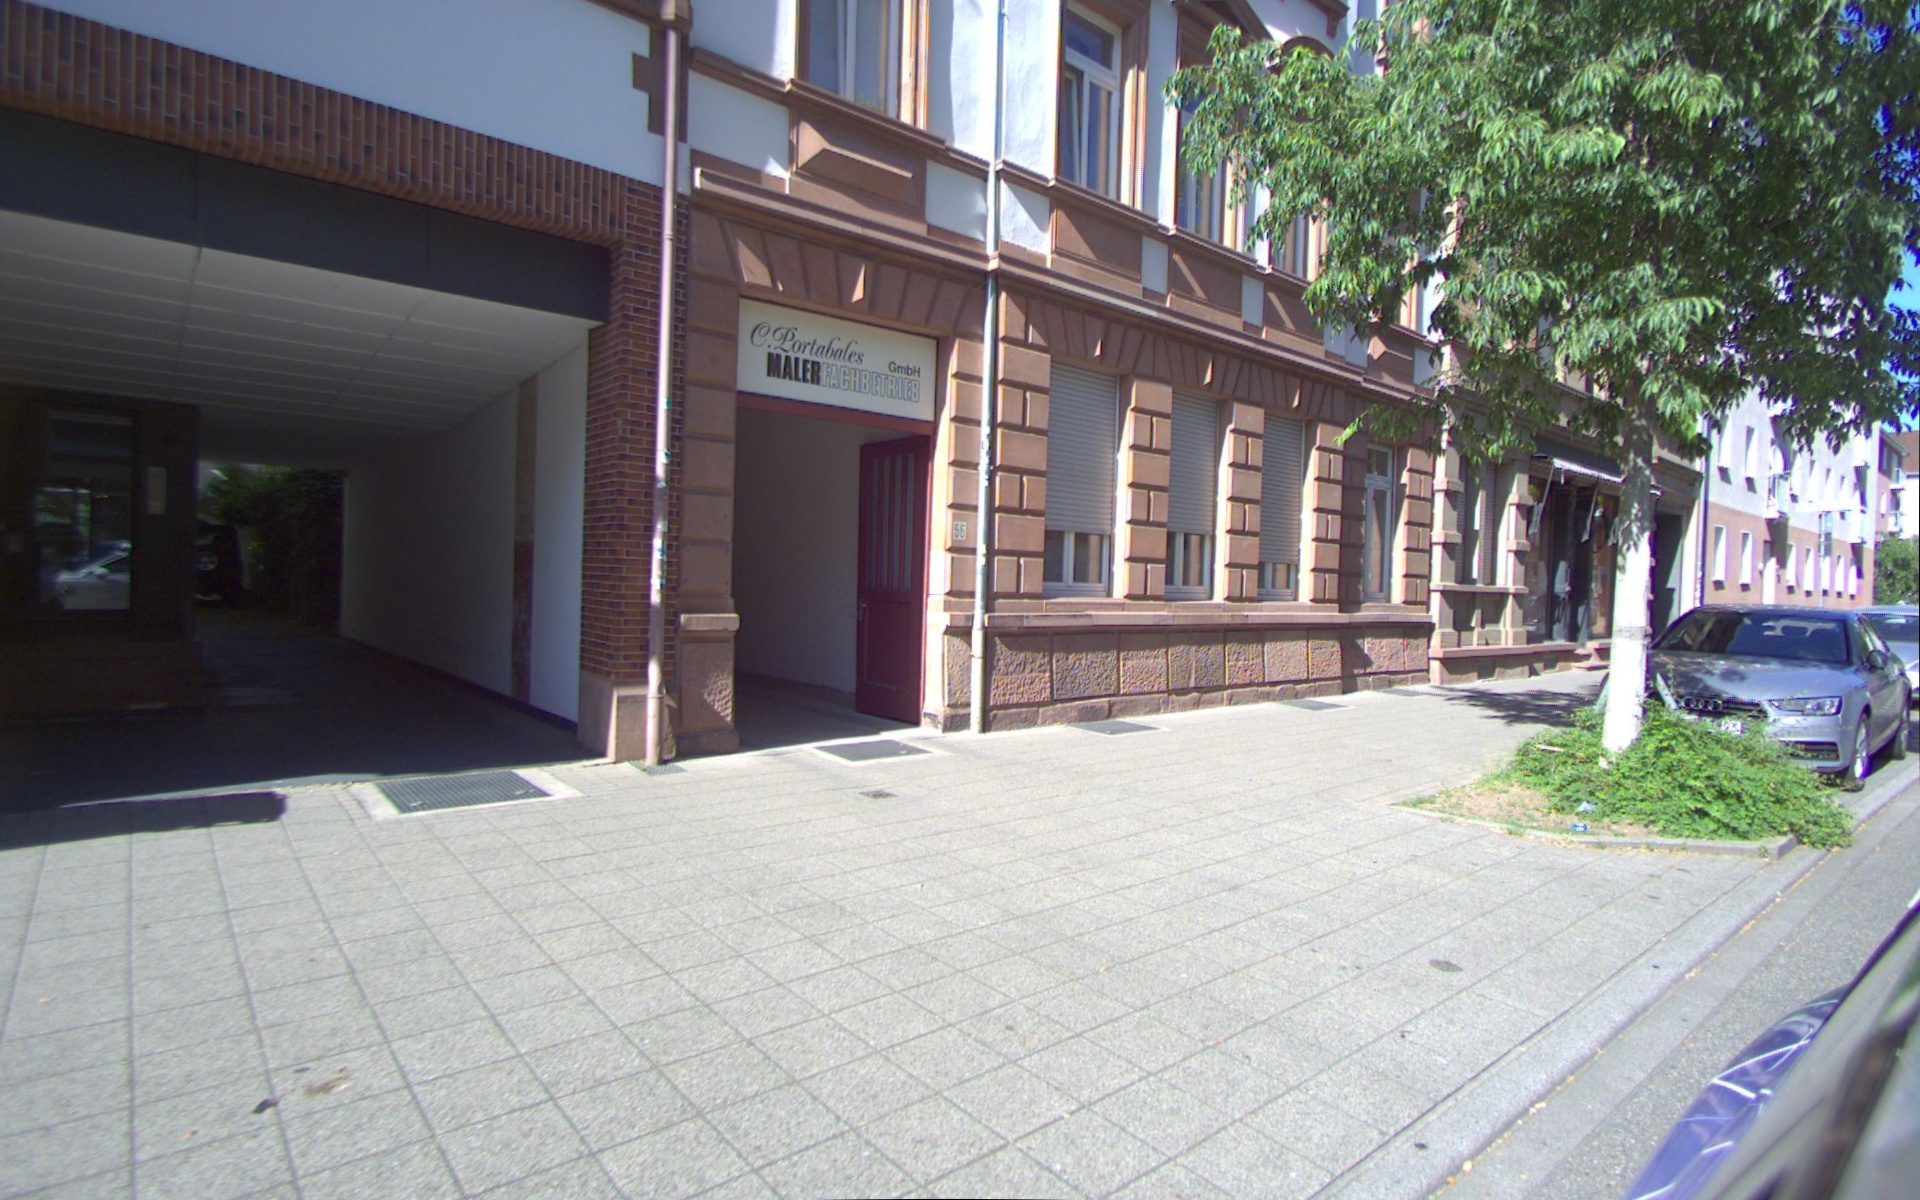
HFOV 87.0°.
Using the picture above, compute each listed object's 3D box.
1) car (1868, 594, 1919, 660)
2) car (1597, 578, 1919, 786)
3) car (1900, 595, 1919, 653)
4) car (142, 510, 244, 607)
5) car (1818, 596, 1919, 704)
[{"bbox_3d":[23.838,0.651,24.928,3.645,1.498,1.712,0,1,-41],"label":"car"},{"bbox_3d":[7.602,0.592,9.372,4.232,1.469,1.742,1,1,-41],"label":"car"},{"bbox_3d":[27.121,0.680,27.368,4.434,1.478,1.791,1,2,-39],"label":"car"},{"bbox_3d":[-18.778,-0.985,24.709,1.644,2.170,3.993,1,1,-42],"label":"car"},{"bbox_3d":[14.635,0.717,15.478,3.930,1.469,1.742,1,1,-41],"label":"car"}]
